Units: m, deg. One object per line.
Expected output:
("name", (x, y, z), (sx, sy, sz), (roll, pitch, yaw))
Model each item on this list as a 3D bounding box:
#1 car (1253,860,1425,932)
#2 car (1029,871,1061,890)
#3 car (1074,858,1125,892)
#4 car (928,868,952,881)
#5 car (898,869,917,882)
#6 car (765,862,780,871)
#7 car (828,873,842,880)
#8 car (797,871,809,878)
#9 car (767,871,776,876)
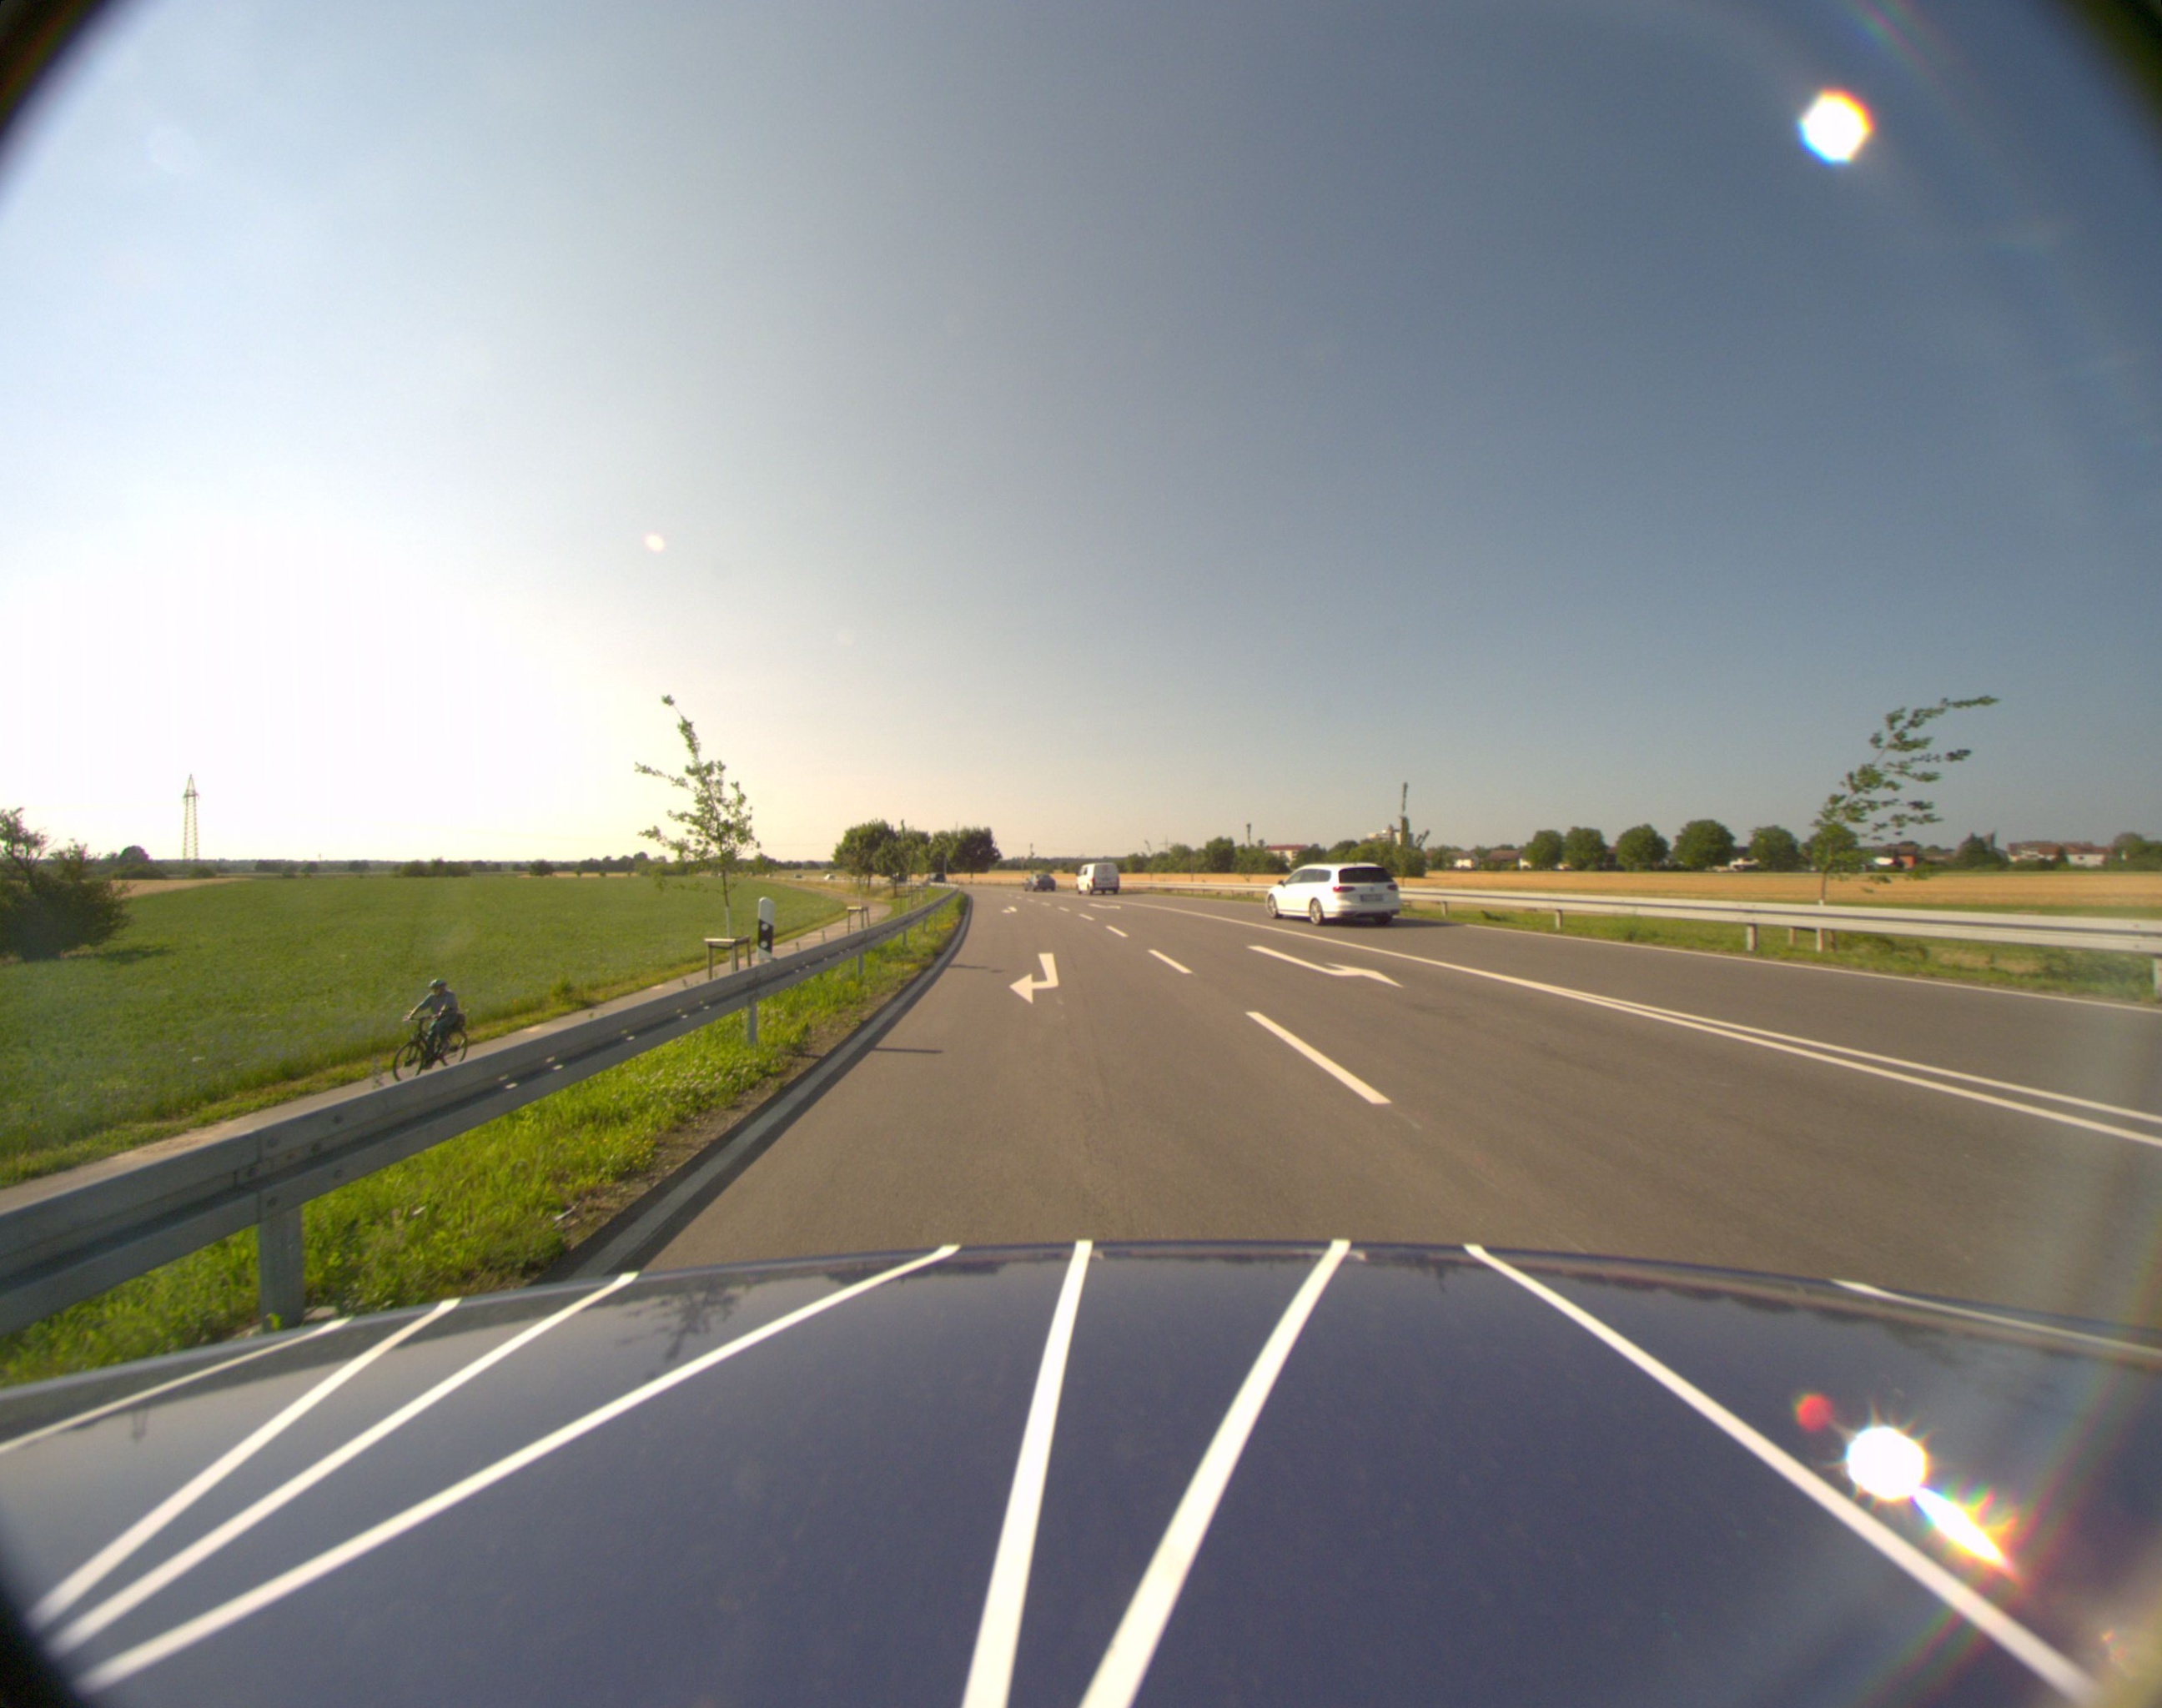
("car", (6.294, 1.061, 19.355), (2.121, 1.483, 5.152), (-3, -3, -6))
("car", (-3.051, 2.217, 63.113), (1.801, 1.439, 4.702), (-2, -3, -13))
("car", (1.140, 1.409, 49.512), (2.122, 2.001, 5.151), (-2, -3, -12))
("car", (-19.327, 2.829, 104.261), (2.003, 1.583, 4.853), (-2, -1, -26))
("car", (-27.702, 3.366, 121.301), (1.891, 1.788, 5.080), (-3, 2, -25))
("car", (-73.223, 2.850, 180.054), (2.821, 2.002, 6.089), (-3, 1, -26))
("car", (-52.425, 4.749, 162.086), (1.862, 1.440, 4.144), (-3, 0, -31))
("car", (-70.070, 5.195, 191.642), (1.846, 1.535, 4.234), (-3, 2, -32))
("car", (-92.736, 5.728, 227.723), (1.760, 1.421, 3.837), (-2, 0, -31))
